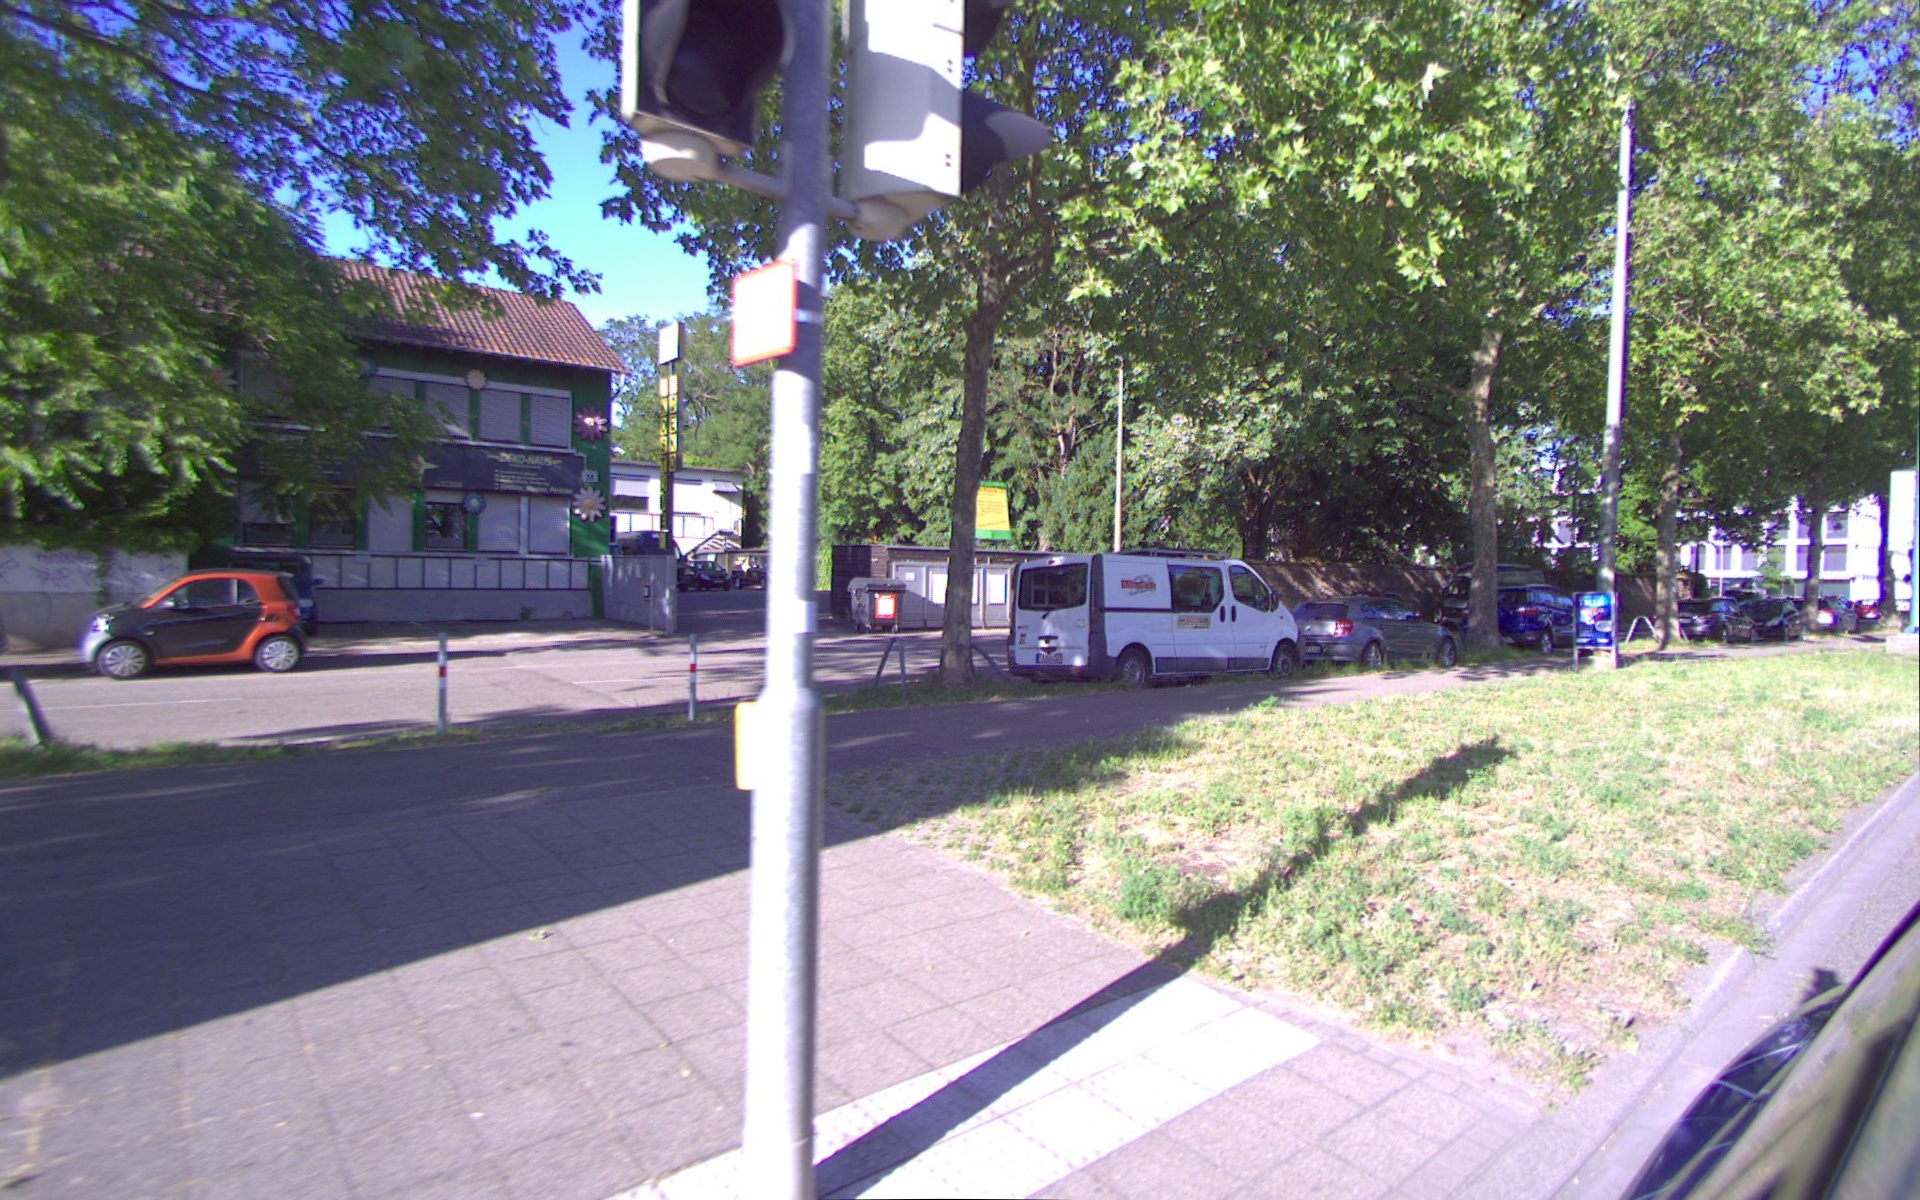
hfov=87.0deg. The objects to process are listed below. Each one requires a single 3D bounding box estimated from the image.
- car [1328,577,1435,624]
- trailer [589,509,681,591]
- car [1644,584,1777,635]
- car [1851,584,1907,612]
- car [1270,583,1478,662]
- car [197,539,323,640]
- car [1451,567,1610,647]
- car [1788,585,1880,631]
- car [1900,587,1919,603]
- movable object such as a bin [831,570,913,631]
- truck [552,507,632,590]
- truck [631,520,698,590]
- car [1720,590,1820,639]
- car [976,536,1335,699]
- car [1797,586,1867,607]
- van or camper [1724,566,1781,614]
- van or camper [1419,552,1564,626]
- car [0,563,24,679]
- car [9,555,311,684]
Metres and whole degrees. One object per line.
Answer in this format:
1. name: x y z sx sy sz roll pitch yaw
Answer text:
1. car: 14.752 -0.023 35.374 3.687 1.490 1.697 -1 4 -35
2. trailer: -16.111 -2.289 49.744 2.181 3.608 8.759 -1 0 -32
3. car: 22.422 0.248 30.184 4.591 1.399 1.998 -1 -1 -38
4. car: 56.120 -0.161 61.887 1.987 1.660 3.951 -1 0 35
5. car: 7.874 0.361 19.105 3.981 1.306 1.998 -1 0 -40
6. car: -14.575 -0.207 20.979 1.817 1.874 4.091 -1 0 -40
7. car: 13.091 0.110 23.113 4.275 1.662 1.740 -1 1 -40
8. car: 32.425 0.292 37.530 3.947 1.580 1.797 -1 -1 -38
9. car: 98.219 -0.522 103.692 4.322 1.503 2.000 -1 5 -38
10. movable object such as a bin: -2.350 -0.014 26.910 1.460 1.487 1.647 -1 4 -41
11. truck: -15.635 -2.104 42.956 2.662 3.311 2.491 1 -1 -33
12. truck: -13.169 -1.943 45.015 2.187 2.951 2.903 -1 0 -32
13. car: 26.583 0.438 33.178 3.815 1.456 1.797 -1 0 -39
14. car: 3.128 0.176 15.293 5.716 2.039 2.194 -1 0 -40
15. car: 71.575 -0.327 83.082 1.685 1.485 4.090 -1 4 -39
16. van or camper: 49.348 -0.662 62.970 4.882 2.764 1.996 -1 5 -44
17. van or camper: 21.710 -0.454 41.198 6.441 2.716 2.565 0 3 -36
18. car: -15.168 0.288 13.107 4.244 1.501 2.000 -1 4 -37
19. car: -12.043 0.201 15.398 3.419 1.626 1.999 -1 5 -41
